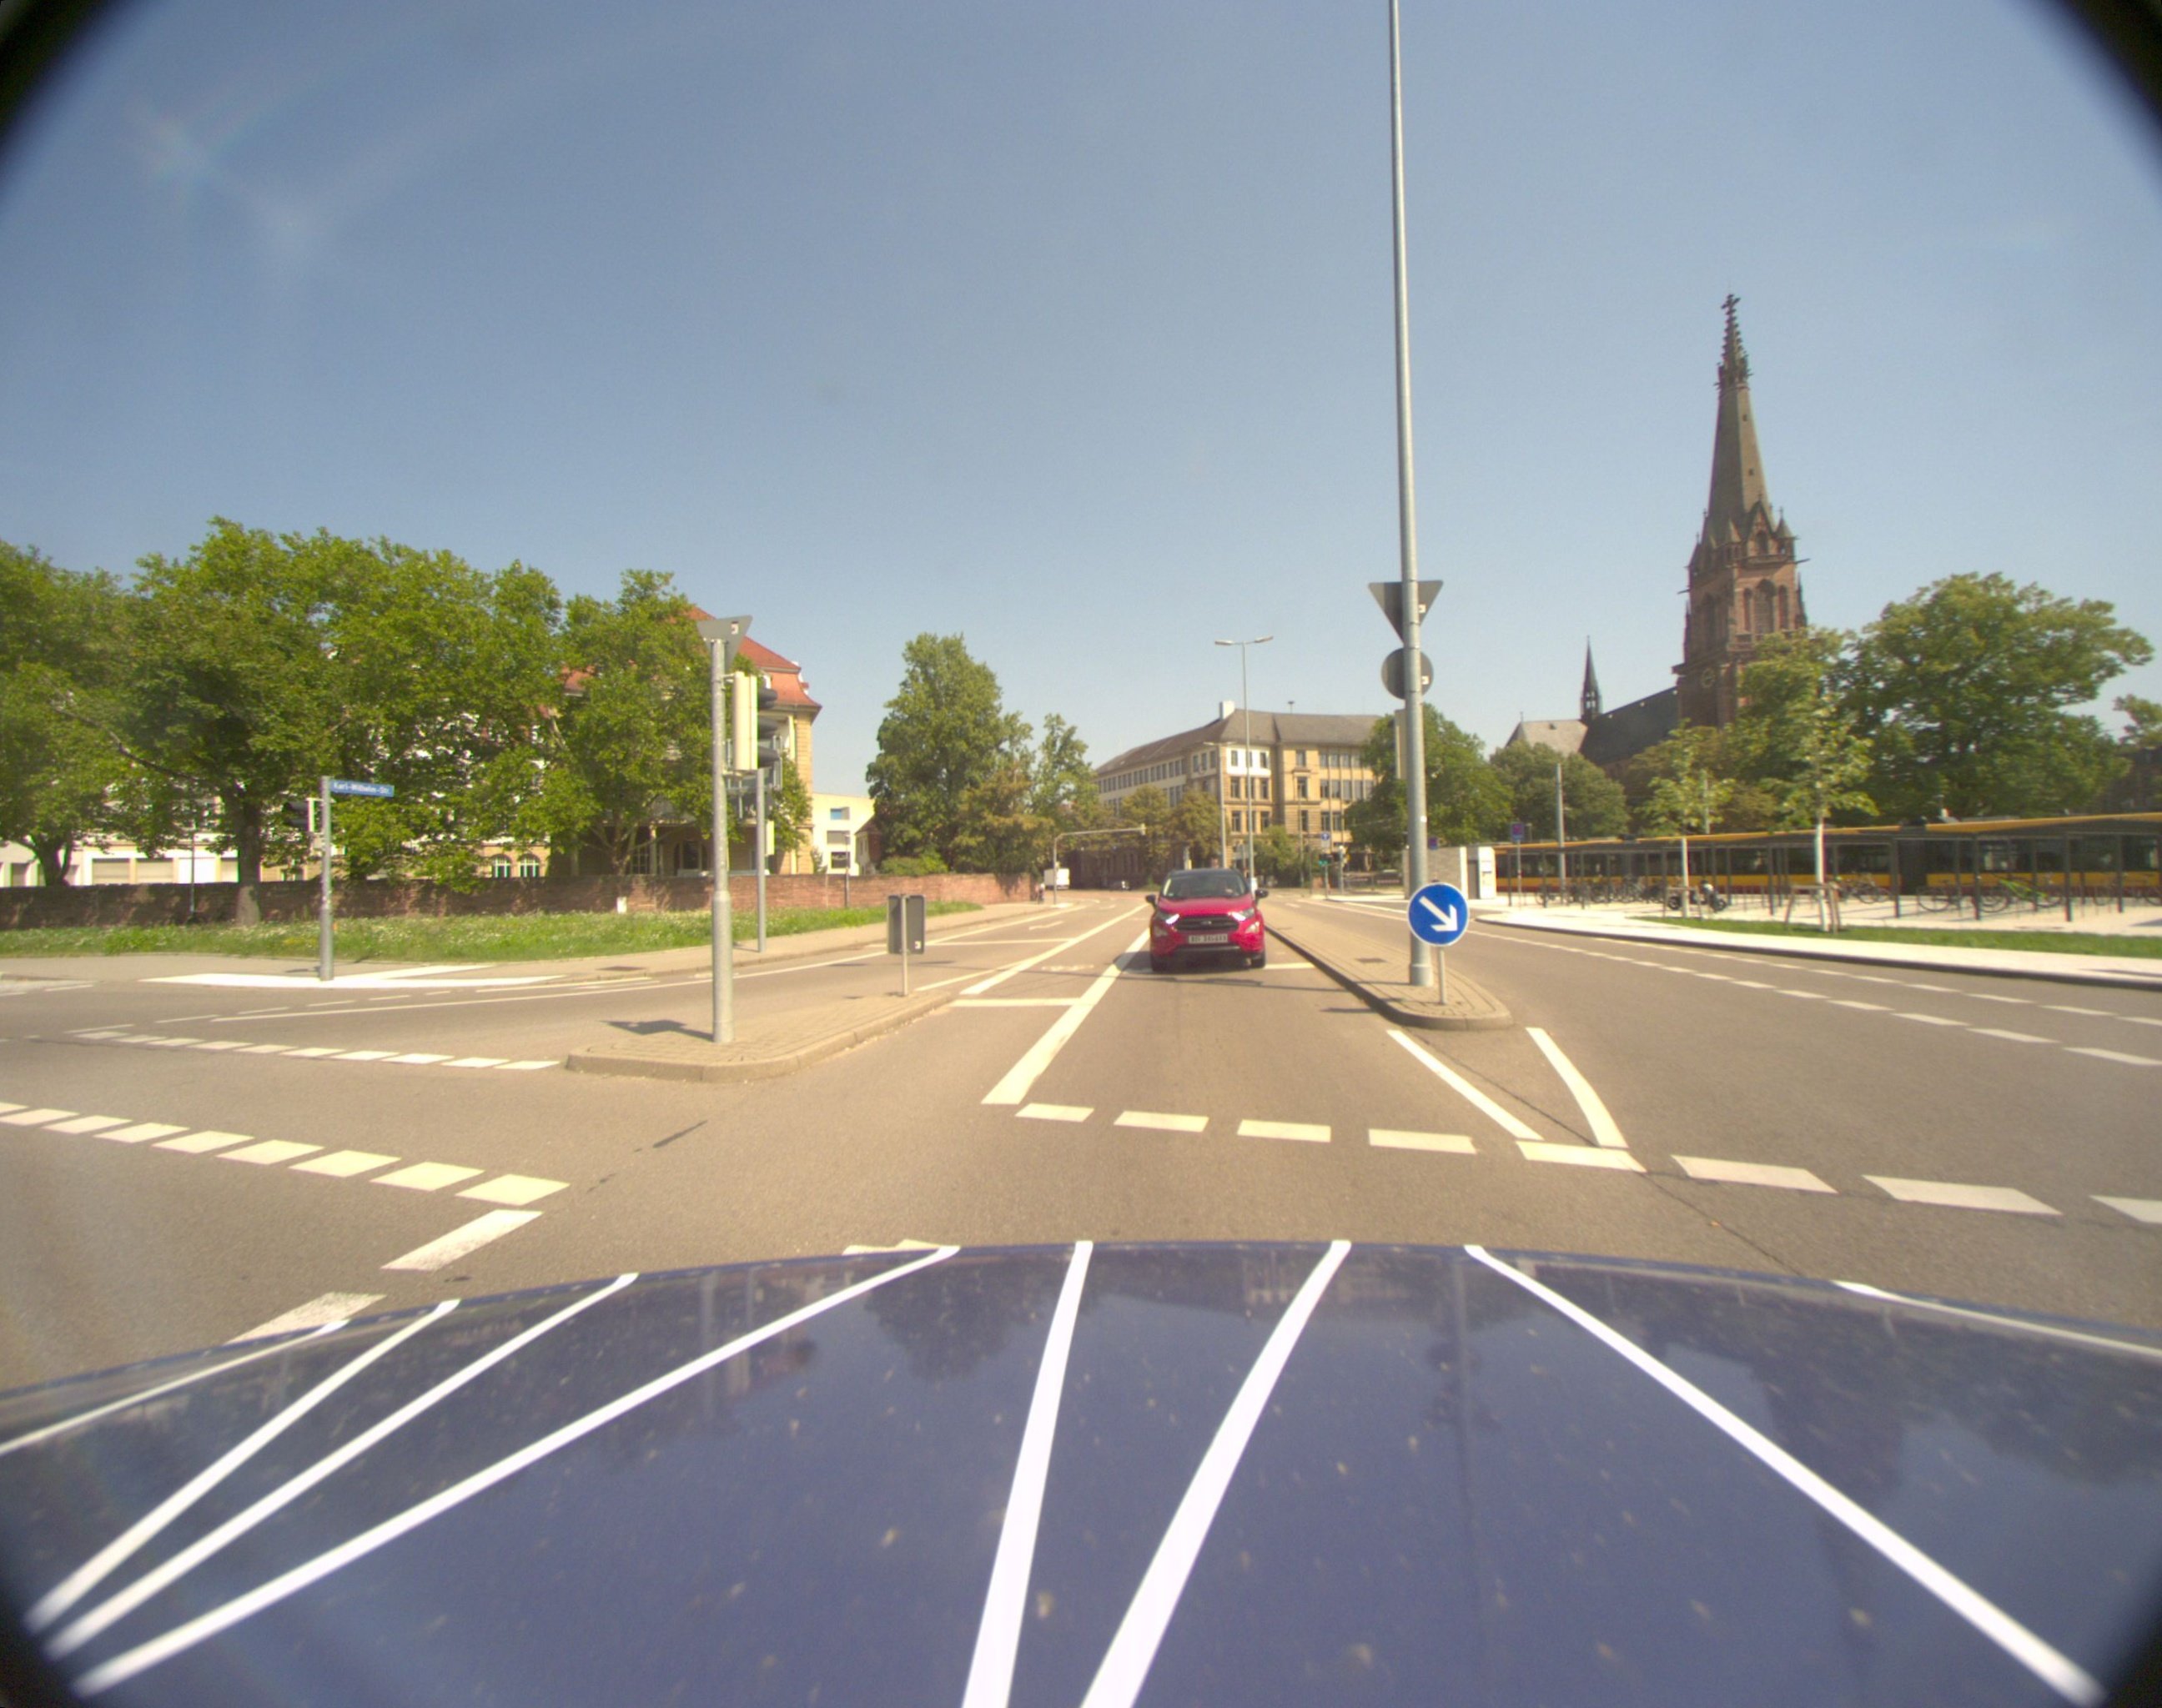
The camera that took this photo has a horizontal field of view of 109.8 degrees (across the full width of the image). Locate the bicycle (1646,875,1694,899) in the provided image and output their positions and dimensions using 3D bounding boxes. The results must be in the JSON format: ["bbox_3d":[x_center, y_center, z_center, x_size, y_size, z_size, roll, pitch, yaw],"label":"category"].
[{"bbox_3d":[25.625,1.436,33.099,0.413,1.033,1.638,0,-2,-24],"label":"bicycle"}]

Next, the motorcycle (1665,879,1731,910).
[{"bbox_3d":[21.832,1.431,26.932,0.492,1.062,1.776,0,-2,-24],"label":"motorcycle"}]

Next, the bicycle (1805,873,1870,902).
[{"bbox_3d":[28.015,1.225,28.169,0.413,1.033,1.638,0,-2,-24],"label":"bicycle"}]

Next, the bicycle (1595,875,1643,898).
[{"bbox_3d":[24.710,1.499,34.915,0.527,1.033,1.767,0,-2,-24],"label":"bicycle"}]

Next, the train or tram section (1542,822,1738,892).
[{"bbox_3d":[31.887,0.348,43.909,3.166,3.575,8.511,0,-3,-27],"label":"train or tram section"}]

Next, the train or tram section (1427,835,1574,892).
[{"bbox_3d":[28.101,0.788,51.422,3.143,3.538,8.313,1,-3,-27],"label":"train or tram section"}]

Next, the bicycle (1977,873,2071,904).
[{"bbox_3d":[31.069,1.130,25.060,0.514,0.979,1.853,0,-2,-28],"label":"bicycle"}]

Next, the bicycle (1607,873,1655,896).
[{"bbox_3d":[25.699,1.432,35.534,0.527,1.033,1.767,0,-2,-24],"label":"bicycle"}]

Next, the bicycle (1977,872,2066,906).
[{"bbox_3d":[29.805,1.101,24.116,0.514,1.033,1.730,0,-2,-39],"label":"bicycle"}]

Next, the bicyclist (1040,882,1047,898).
[{"bbox_3d":[-2.944,2.805,59.195,0.432,1.225,0.541,-1,-1,6],"label":"bicyclist"}]

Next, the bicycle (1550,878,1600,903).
[{"bbox_3d":[21.497,1.580,33.092,0.527,1.033,1.767,0,-2,-24],"label":"bicycle"}]

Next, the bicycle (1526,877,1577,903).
[{"bbox_3d":[20.275,1.558,32.768,0.527,1.075,1.862,0,-2,-24],"label":"bicycle"}]

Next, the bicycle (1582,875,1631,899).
[{"bbox_3d":[23.645,1.476,34.189,0.527,1.033,1.767,0,-2,-24],"label":"bicycle"}]

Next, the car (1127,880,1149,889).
[{"bbox_3d":[8.609,4.631,114.982,3.063,1.169,1.249,0,-2,-31],"label":"car"}]

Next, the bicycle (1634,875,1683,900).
[{"bbox_3d":[24.363,1.409,32.075,0.413,1.033,1.638,0,-2,-24],"label":"bicycle"}]

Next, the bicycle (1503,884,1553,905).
[{"bbox_3d":[18.914,1.708,32.187,0.492,0.878,1.895,0,-2,-24],"label":"bicycle"}]

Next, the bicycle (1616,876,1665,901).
[{"bbox_3d":[23.418,1.448,31.846,0.413,1.033,1.638,0,-2,-24],"label":"bicycle"}]

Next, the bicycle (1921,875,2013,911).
[{"bbox_3d":[26.577,1.165,22.821,0.514,1.033,1.731,0,-2,-34],"label":"bicycle"}]

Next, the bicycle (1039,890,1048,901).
[{"bbox_3d":[-2.940,3.224,59.158,0.437,0.807,1.487,-1,-1,6],"label":"bicycle"}]

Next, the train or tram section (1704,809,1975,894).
[{"bbox_3d":[35.703,0.111,36.316,3.166,3.575,8.511,0,-3,-27],"label":"train or tram section"}]

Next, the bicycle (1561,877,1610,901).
[{"bbox_3d":[22.136,1.522,33.391,0.527,1.033,1.767,0,-2,-24],"label":"bicycle"}]

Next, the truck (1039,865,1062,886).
[{"bbox_3d":[-4.838,3.362,120.360,2.433,3.268,3.420,-1,-1,-29],"label":"truck"}]

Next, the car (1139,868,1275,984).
[{"bbox_3d":[2.070,1.091,12.799,1.843,1.604,4.004,-3,-2,8],"label":"car"}]

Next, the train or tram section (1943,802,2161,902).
[{"bbox_3d":[39.459,0.003,28.862,3.166,3.575,8.231,0,-3,-27],"label":"train or tram section"}]

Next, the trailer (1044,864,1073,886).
[{"bbox_3d":[-3.562,3.275,118.016,2.446,3.268,5.078,-1,-1,-29],"label":"trailer"}]
